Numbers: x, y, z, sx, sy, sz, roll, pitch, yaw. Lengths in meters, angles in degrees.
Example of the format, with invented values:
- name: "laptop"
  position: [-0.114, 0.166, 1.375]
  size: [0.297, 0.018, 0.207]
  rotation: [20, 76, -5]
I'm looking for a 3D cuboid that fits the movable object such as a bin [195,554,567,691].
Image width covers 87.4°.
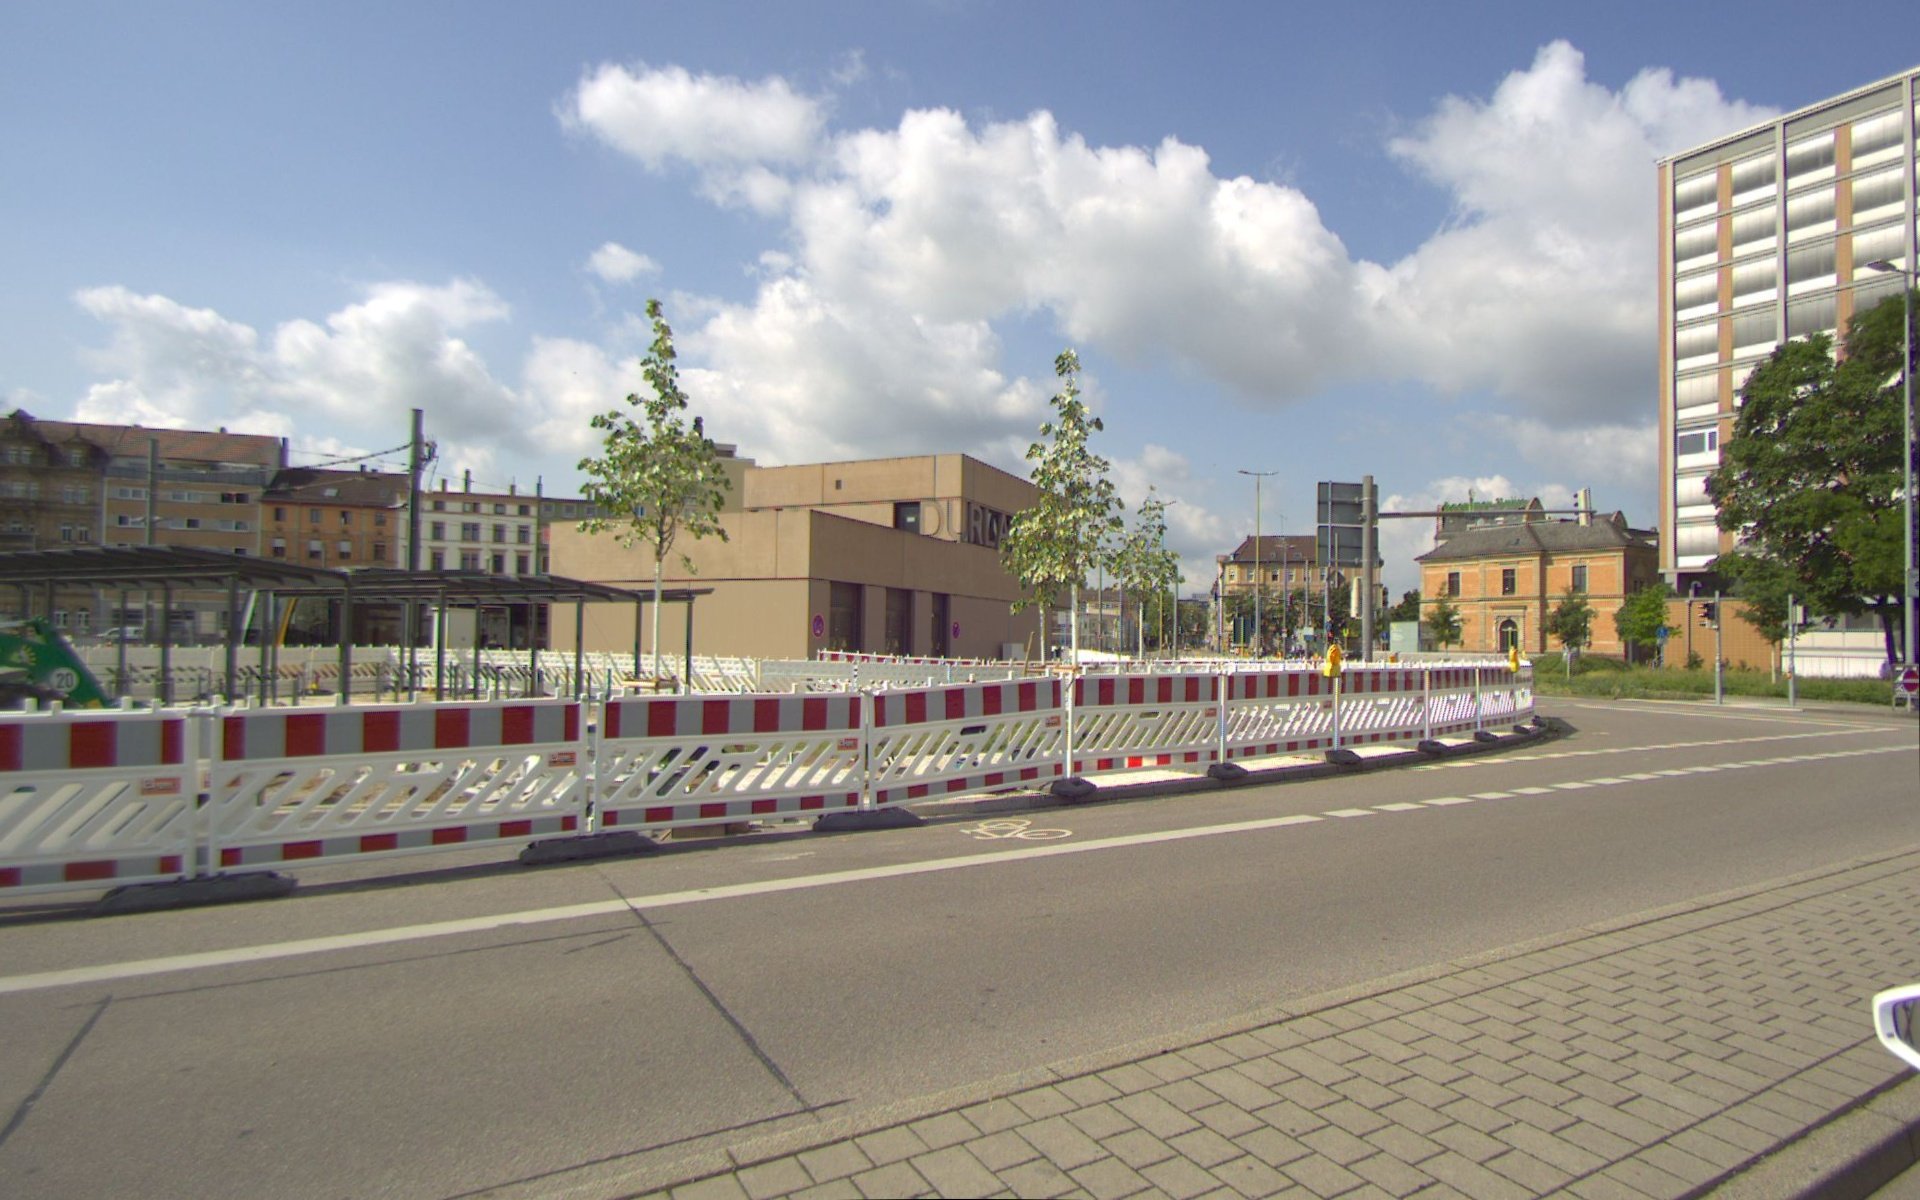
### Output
- name: "movable object such as a bin"
  position: [-16.801, 0.760, 30.335]
  size: [2.965, 3.468, 9.678]
  rotation: [0, -2, 26]

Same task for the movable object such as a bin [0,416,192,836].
- name: "movable object such as a bin"
  position: [-8.034, 0.149, 6.536]
  size: [1.960, 2.988, 4.453]
  rotation: [0, -2, 17]
